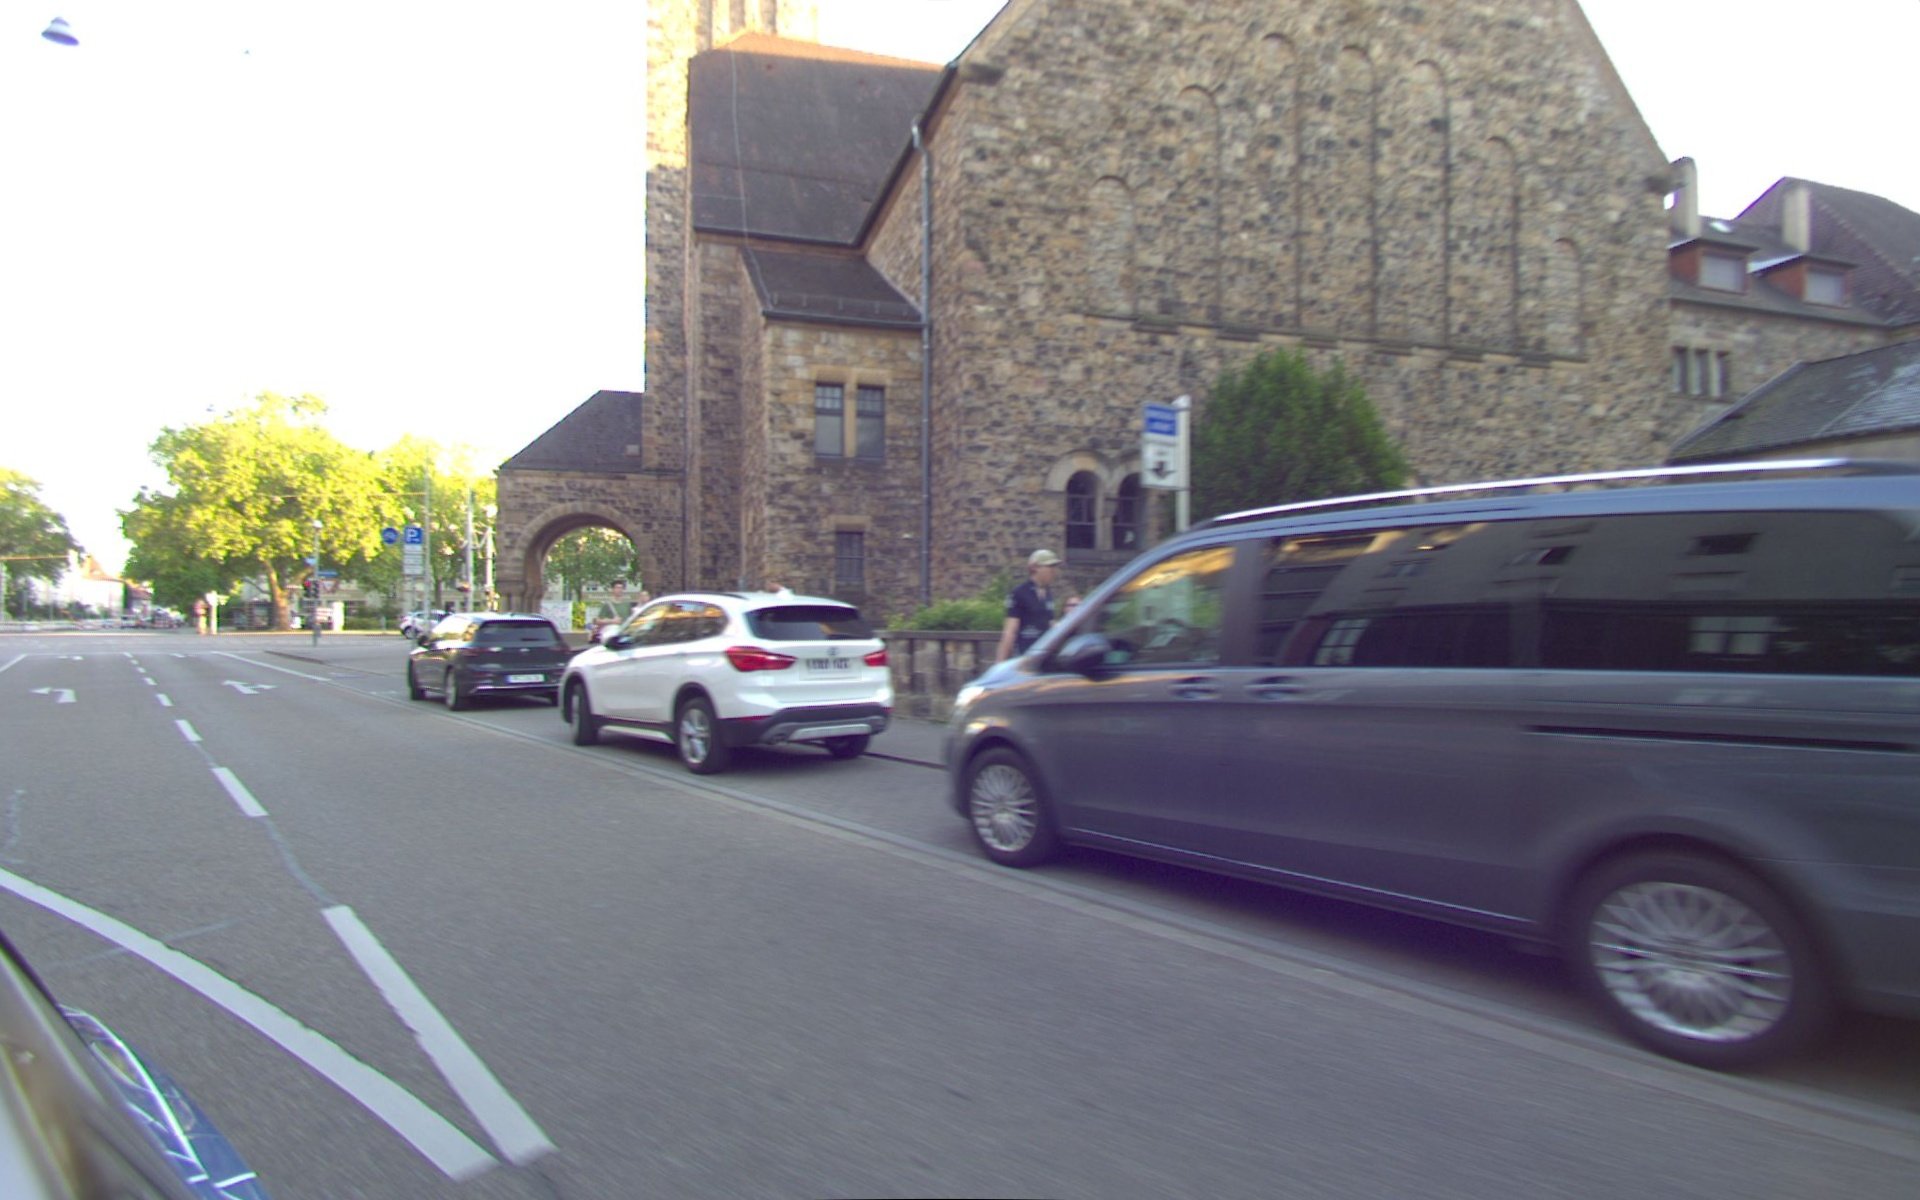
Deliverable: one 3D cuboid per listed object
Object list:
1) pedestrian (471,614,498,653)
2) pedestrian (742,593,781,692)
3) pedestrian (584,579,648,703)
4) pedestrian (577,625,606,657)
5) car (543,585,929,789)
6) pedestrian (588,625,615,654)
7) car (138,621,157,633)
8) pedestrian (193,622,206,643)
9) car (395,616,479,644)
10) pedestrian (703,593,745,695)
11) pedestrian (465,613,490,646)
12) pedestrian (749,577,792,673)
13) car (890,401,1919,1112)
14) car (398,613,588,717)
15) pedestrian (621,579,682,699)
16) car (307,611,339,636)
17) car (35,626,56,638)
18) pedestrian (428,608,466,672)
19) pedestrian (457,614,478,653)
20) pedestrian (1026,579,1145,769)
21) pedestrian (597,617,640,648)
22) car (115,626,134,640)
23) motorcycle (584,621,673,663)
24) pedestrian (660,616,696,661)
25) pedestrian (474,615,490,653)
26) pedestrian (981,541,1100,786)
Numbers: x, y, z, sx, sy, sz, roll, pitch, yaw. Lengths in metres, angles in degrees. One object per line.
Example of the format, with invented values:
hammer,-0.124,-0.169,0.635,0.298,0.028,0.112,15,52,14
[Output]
pedestrian,-17.306,1.225,36.838,0.693,1.417,0.633,0,-1,-6
pedestrian,-3.416,0.729,17.428,0.542,1.687,0.414,-1,-1,10
pedestrian,-5.406,0.630,15.909,0.639,1.893,0.892,1,-2,-44
pedestrian,-11.949,1.328,32.863,0.690,0.999,0.559,0,-1,16
car,-2.464,0.729,10.263,1.848,1.604,4.474,1,-2,-42
pedestrian,-11.845,1.301,33.461,0.644,0.975,0.559,0,-1,16
car,-111.401,3.691,138.814,1.799,1.586,4.009,0,-1,-37
pedestrian,-61.106,2.597,81.323,0.734,1.641,0.662,0,-1,-24
car,-30.468,1.737,59.048,3.937,1.570,1.845,0,-1,-7
pedestrian,-3.822,0.706,16.403,0.542,1.634,0.414,-1,-1,10
pedestrian,-20.702,1.269,43.436,0.791,1.385,0.700,0,-1,-7
pedestrian,-3.153,0.406,16.829,0.641,1.557,0.587,0,-1,-17
car,1.993,0.457,4.914,1.968,1.881,5.299,1,-1,-39
car,-7.631,0.955,16.311,1.760,1.446,4.323,1,-2,-39
pedestrian,-5.013,0.622,16.443,0.566,1.870,0.989,1,-2,-44
car,-54.116,1.987,86.034,1.836,2.029,3.823,1,-1,-26
car,-122.807,4.269,135.889,1.766,1.592,4.008,1,-2,-37
pedestrian,-14.097,1.095,27.805,0.691,1.738,0.707,-1,-2,40
pedestrian,-18.543,1.249,38.124,0.542,1.464,0.558,0,-1,-6
pedestrian,1.091,0.617,8.867,0.575,1.563,0.840,0,-1,-44
pedestrian,-12.271,1.172,36.398,1.318,1.102,0.683,0,-1,10
car,-120.967,4.726,146.524,1.961,1.971,4.605,1,-2,-38
motorcycle,-9.951,1.230,30.430,2.383,1.134,0.823,-2,0,-37
pedestrian,-6.803,0.927,24.406,0.516,1.056,0.734,-1,-1,19
pedestrian,-18.046,1.269,38.210,0.396,1.417,0.549,0,-1,-6
pedestrian,0.663,0.505,8.416,0.575,1.920,0.804,1,-2,-44
